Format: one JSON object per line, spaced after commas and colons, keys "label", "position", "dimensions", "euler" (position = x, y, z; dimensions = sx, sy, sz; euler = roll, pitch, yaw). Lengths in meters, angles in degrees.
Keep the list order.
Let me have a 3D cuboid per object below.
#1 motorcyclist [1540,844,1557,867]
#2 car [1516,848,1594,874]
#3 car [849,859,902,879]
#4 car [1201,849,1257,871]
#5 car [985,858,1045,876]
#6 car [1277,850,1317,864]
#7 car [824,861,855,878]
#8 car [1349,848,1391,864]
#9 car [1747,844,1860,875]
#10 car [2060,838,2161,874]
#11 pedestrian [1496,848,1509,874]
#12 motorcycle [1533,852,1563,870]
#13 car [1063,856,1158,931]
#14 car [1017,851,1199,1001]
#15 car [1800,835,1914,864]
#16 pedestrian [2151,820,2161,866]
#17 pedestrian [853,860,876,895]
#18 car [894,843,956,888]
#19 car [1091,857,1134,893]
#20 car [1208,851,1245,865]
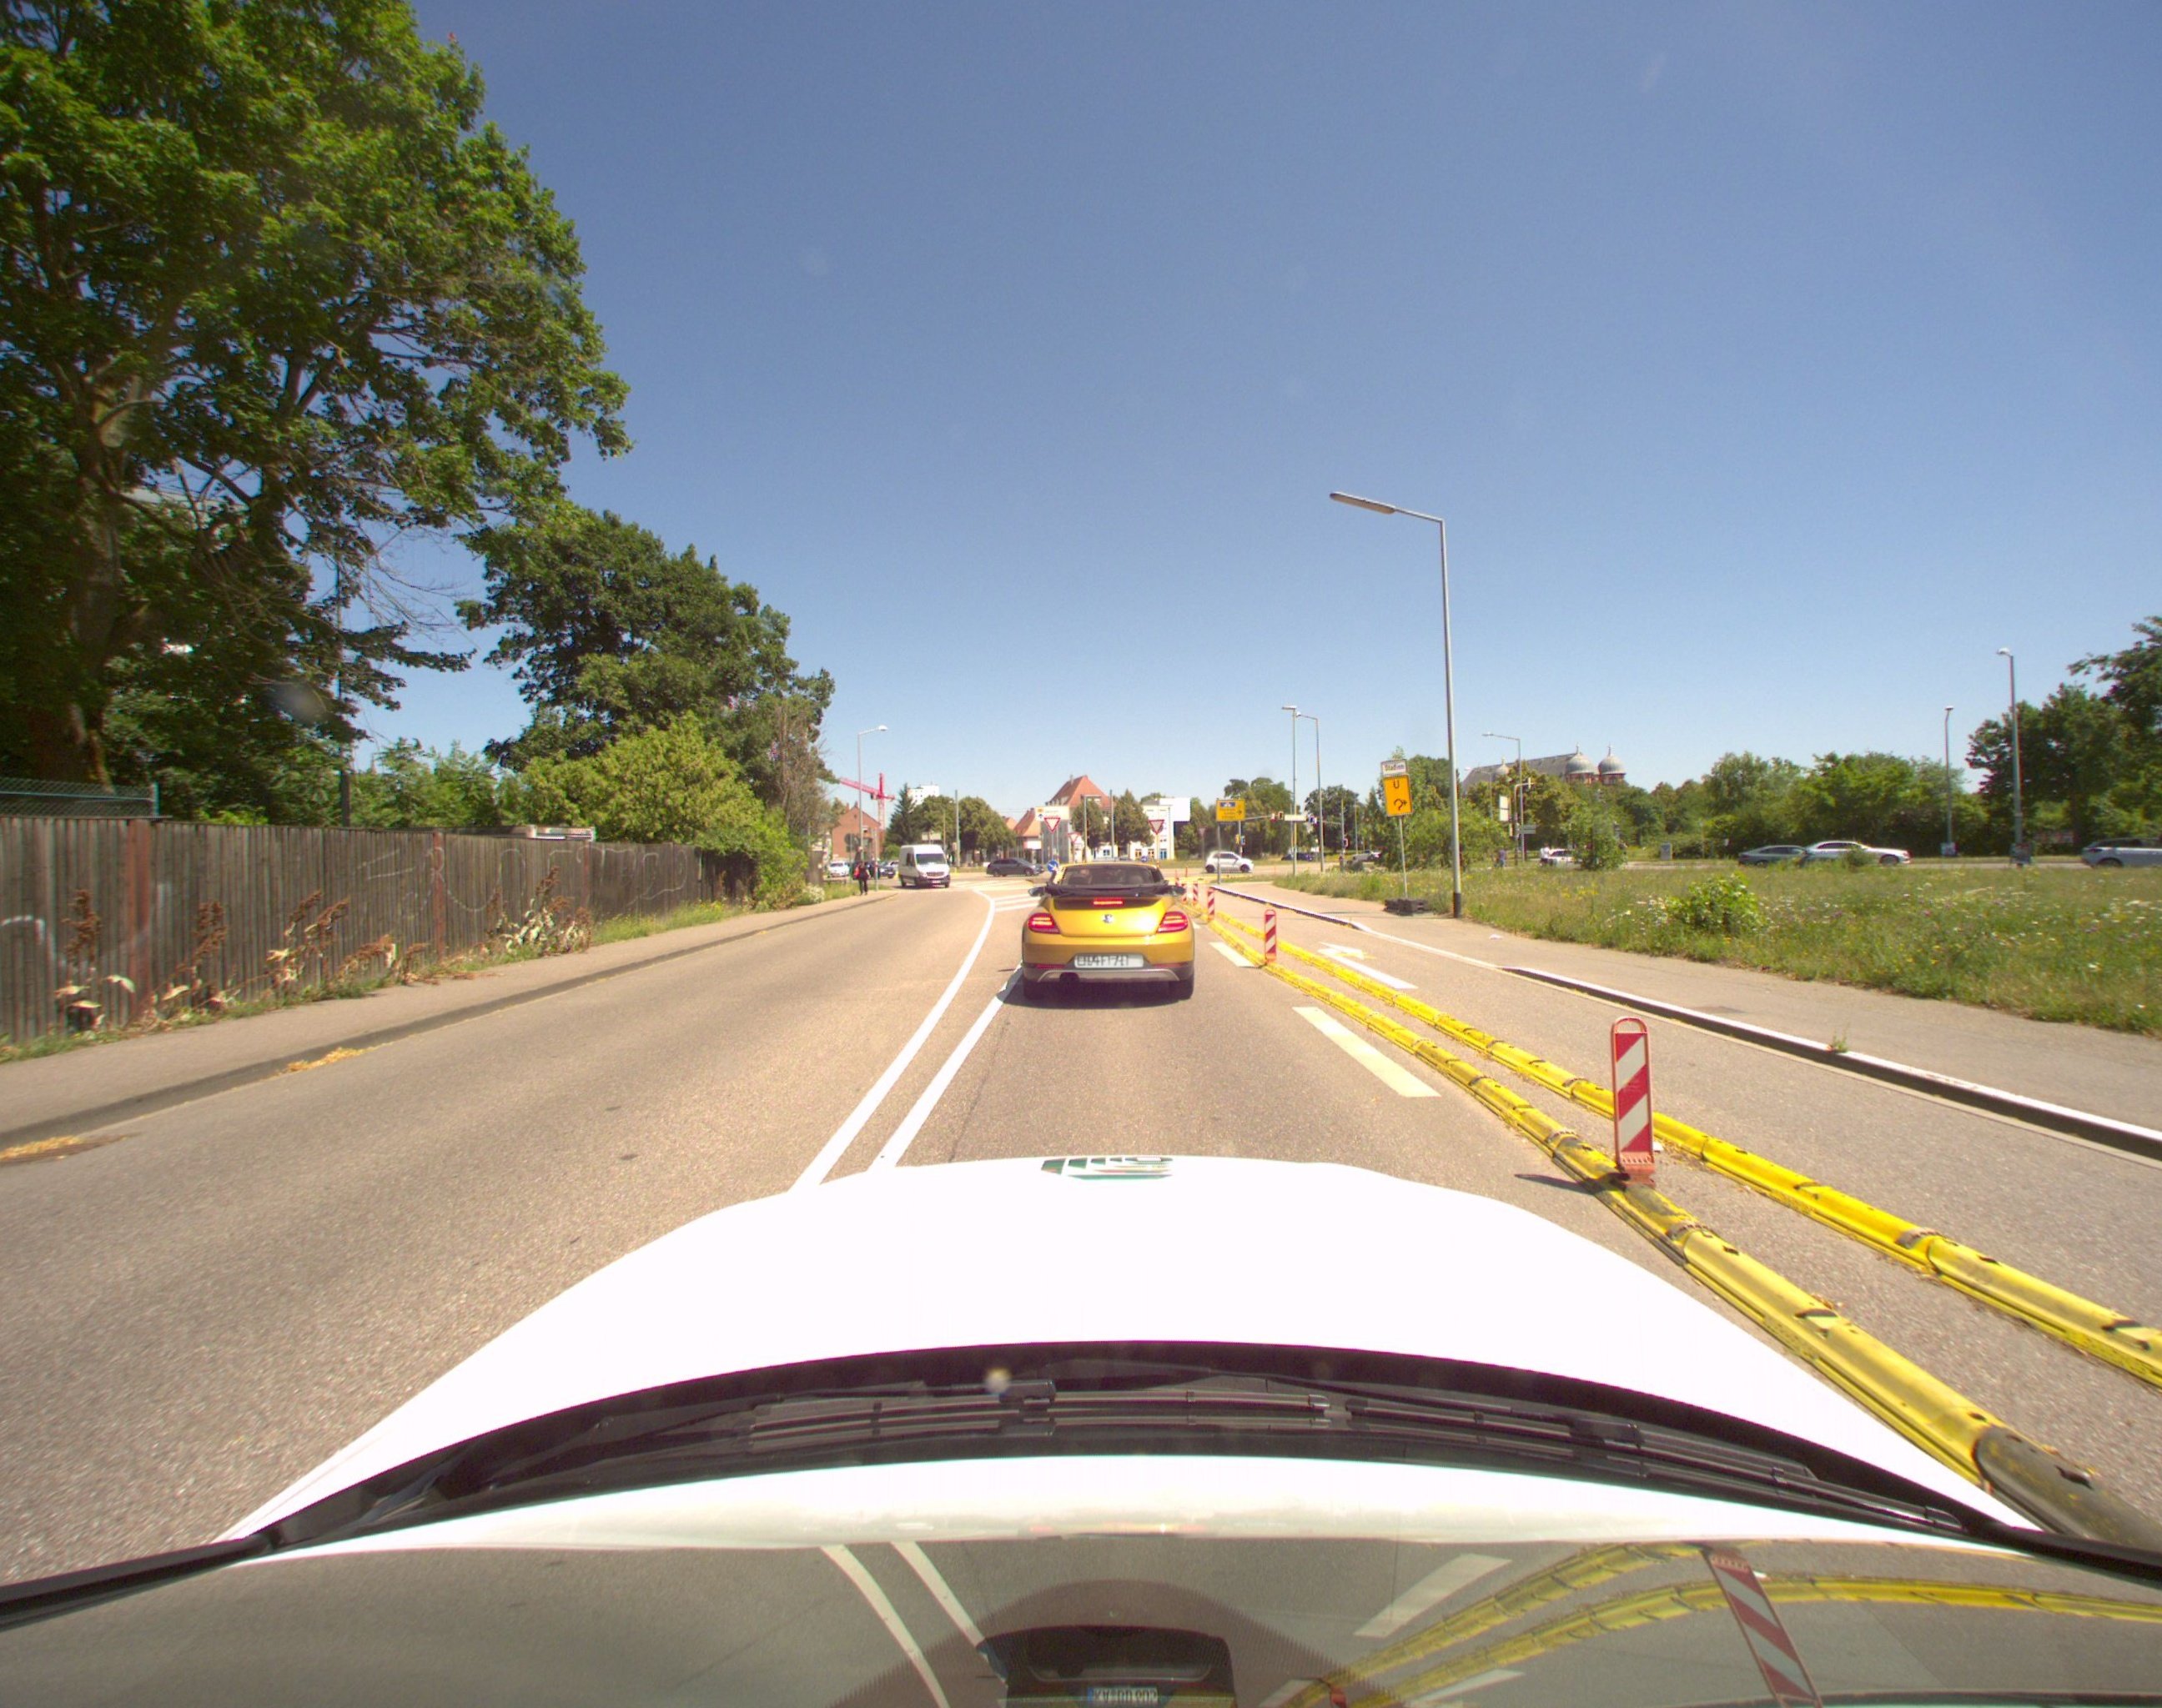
{"label": "motorcyclist", "position": [26.499, 0.100, 46.185], "dimensions": [0.616, 1.289, 0.576], "euler": [0, -1, -27]}
{"label": "car", "position": [28.824, 0.439, 49.554], "dimensions": [3.948, 1.552, 1.751], "euler": [-1, -1, 34]}
{"label": "car", "position": [-17.330, 1.231, 68.462], "dimensions": [4.389, 1.596, 2.013], "euler": [-1, -1, 37]}
{"label": "car", "position": [10.863, 0.423, 59.713], "dimensions": [3.961, 1.552, 1.745], "euler": [-1, -1, 11]}
{"label": "car", "position": [-5.121, 1.007, 62.988], "dimensions": [4.160, 1.391, 1.910], "euler": [-1, -1, 17]}
{"label": "car", "position": [29.305, 0.435, 110.594], "dimensions": [4.870, 1.786, 2.038], "euler": [-3, -1, 45]}
{"label": "car", "position": [-23.915, 1.519, 80.763], "dimensions": [1.749, 1.549, 4.002], "euler": [-1, 0, 2]}
{"label": "car", "position": [35.152, 0.285, 99.282], "dimensions": [2.026, 1.786, 5.147], "euler": [-2, 0, -19]}
{"label": "car", "position": [37.944, 0.248, 42.923], "dimensions": [4.352, 1.552, 1.751], "euler": [1, 0, 39]}
{"label": "car", "position": [46.244, 0.094, 35.703], "dimensions": [4.024, 1.505, 2.012], "euler": [-1, -1, 44]}
{"label": "pedestrian", "position": [24.857, 0.419, 47.984], "dimensions": [0.495, 1.563, 0.514], "euler": [-1, -1, 2]}
{"label": "motorcycle", "position": [26.477, 0.387, 46.138], "dimensions": [1.712, 0.970, 0.625], "euler": [0, -1, -28]}
{"label": "car", "position": [0.649, 0.791, 17.943], "dimensions": [1.841, 1.442, 4.002], "euler": [-1, 0, 2]}
{"label": "car", "position": [0.317, 0.709, 9.729], "dimensions": [1.746, 1.422, 3.779], "euler": [-1, 0, 2]}
{"label": "car", "position": [43.546, -0.220, 45.816], "dimensions": [4.584, 1.552, 1.750], "euler": [-1, -1, 44]}
{"label": "pedestrian", "position": [40.496, -0.405, 30.302], "dimensions": [0.727, 1.691, 0.501], "euler": [-1, -1, 41]}
{"label": "pedestrian", "position": [-9.849, 1.071, 37.071], "dimensions": [0.806, 1.563, 0.876], "euler": [-1, -1, -2]}
{"label": "car", "position": [-9.569, 0.714, 49.467], "dimensions": [2.030, 2.539, 6.771], "euler": [-2, 0, -25]}
{"label": "car", "position": [1.377, 0.886, 35.770], "dimensions": [1.730, 1.442, 4.002], "euler": [-1, 0, 2]}
{"label": "car", "position": [21.029, 0.589, 118.038], "dimensions": [4.868, 1.786, 2.039], "euler": [-3, -1, 40]}
